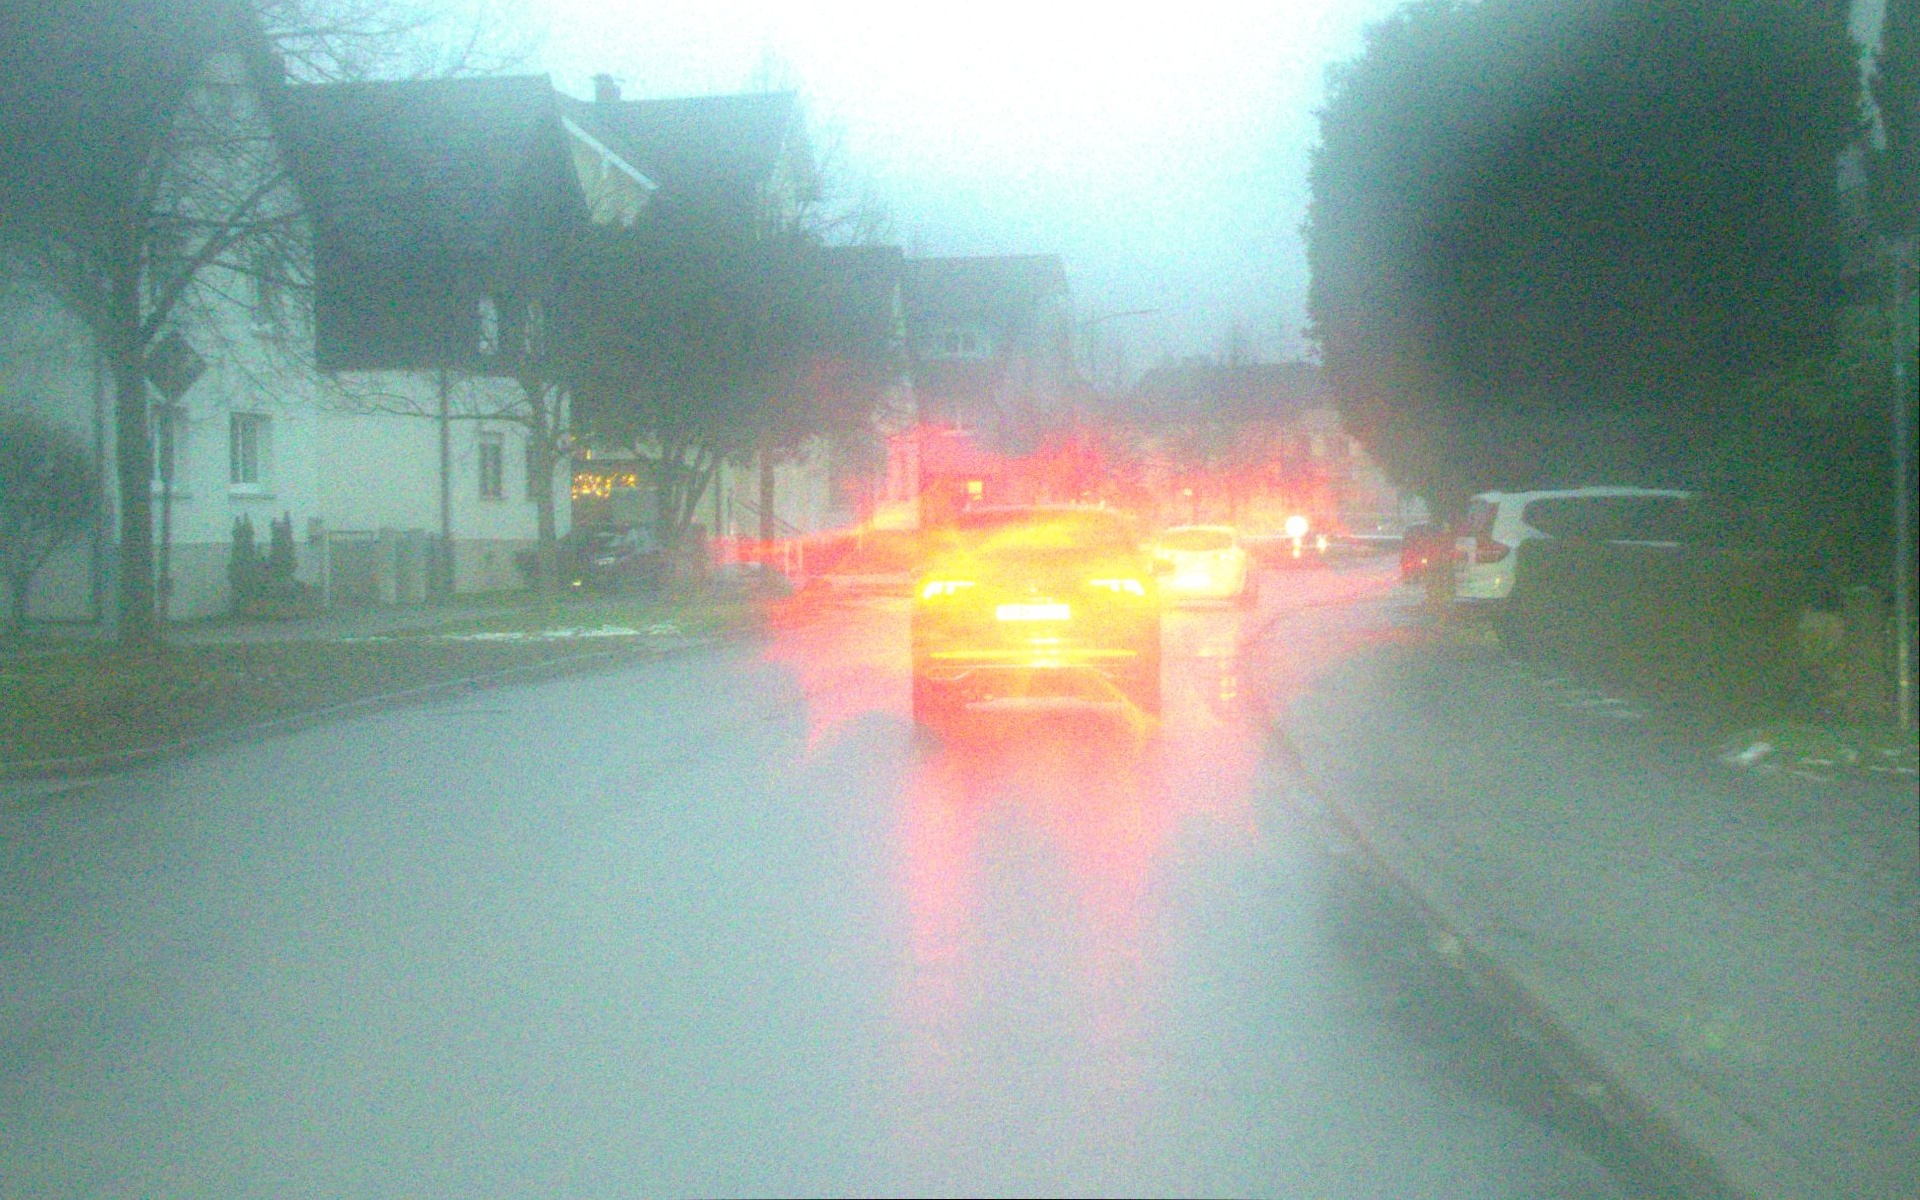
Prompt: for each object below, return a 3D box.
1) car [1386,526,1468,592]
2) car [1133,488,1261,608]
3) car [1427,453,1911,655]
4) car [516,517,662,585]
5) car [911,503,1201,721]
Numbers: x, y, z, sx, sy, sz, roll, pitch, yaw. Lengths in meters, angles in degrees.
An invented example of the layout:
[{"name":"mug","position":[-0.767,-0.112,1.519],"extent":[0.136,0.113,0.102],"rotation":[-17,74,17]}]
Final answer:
[{"name":"car","position":[11.394,-1.018,83.738],"extent":[1.650,1.534,3.389],"rotation":[2,1,13]},{"name":"car","position":[4.170,-0.906,60.052],"extent":[1.994,2.007,3.999],"rotation":[1,1,7]},{"name":"car","position":[6.958,-0.466,34.073],"extent":[4.322,1.726,2.000],"rotation":[-3,1,1]},{"name":"car","position":[-7.640,-1.013,71.163],"extent":[1.783,1.361,3.998],"rotation":[1,1,13]},{"name":"car","position":[0.639,0.036,25.978],"extent":[1.993,1.520,4.000],"rotation":[0,1,-1]}]
